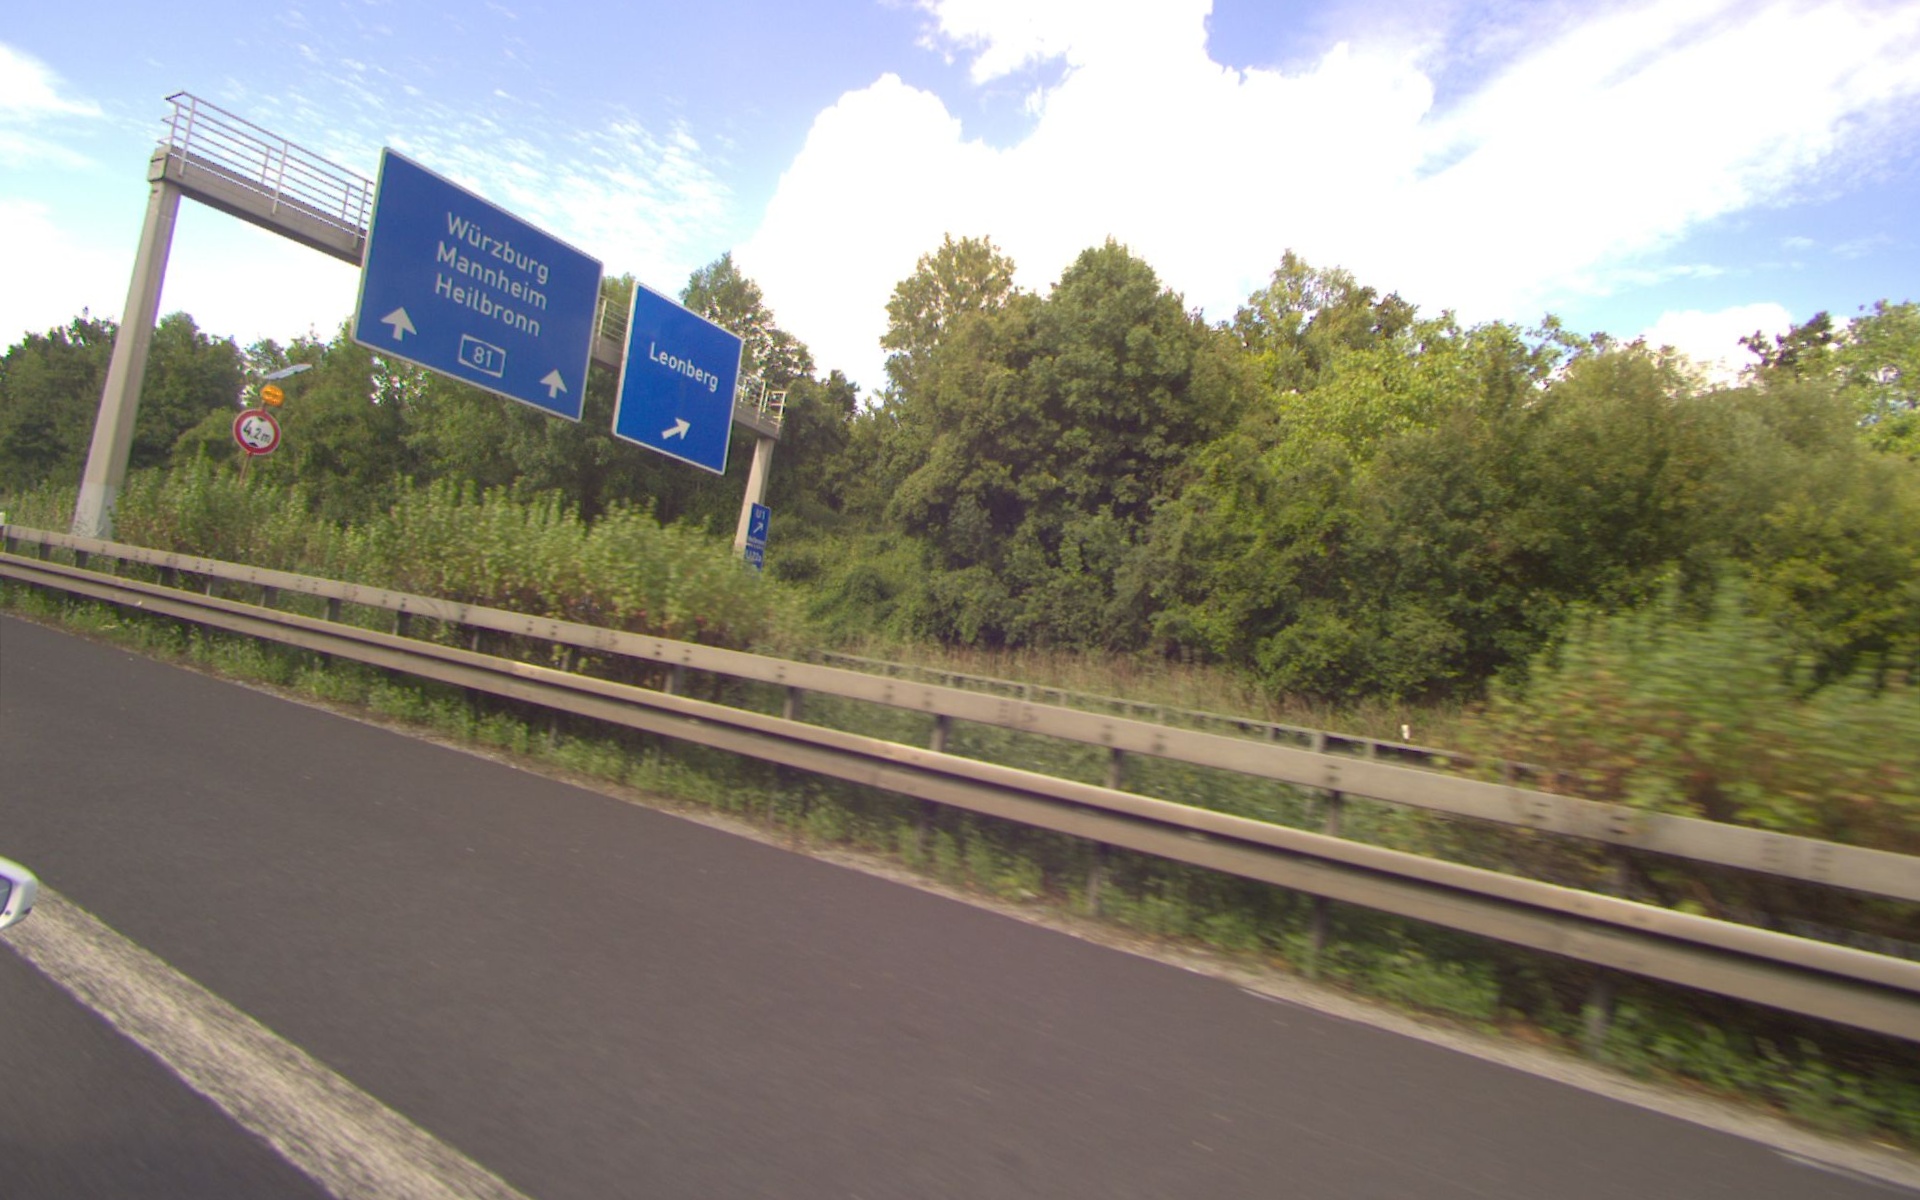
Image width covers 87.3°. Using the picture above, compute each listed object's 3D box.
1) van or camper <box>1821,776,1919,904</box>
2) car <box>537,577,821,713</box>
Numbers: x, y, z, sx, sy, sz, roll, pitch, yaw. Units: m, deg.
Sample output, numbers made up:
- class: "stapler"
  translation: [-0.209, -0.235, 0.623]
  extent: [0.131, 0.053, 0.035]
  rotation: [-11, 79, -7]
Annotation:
- class: "van or camper"
  translation: [15.537, 3.687, 13.097]
  extent: [6.250, 1.527, 1.771]
  rotation: [7, -2, 32]
- class: "car"
  translation: [-4.730, 0.710, 16.681]
  extent: [4.600, 1.536, 1.787]
  rotation: [7, -2, 33]
